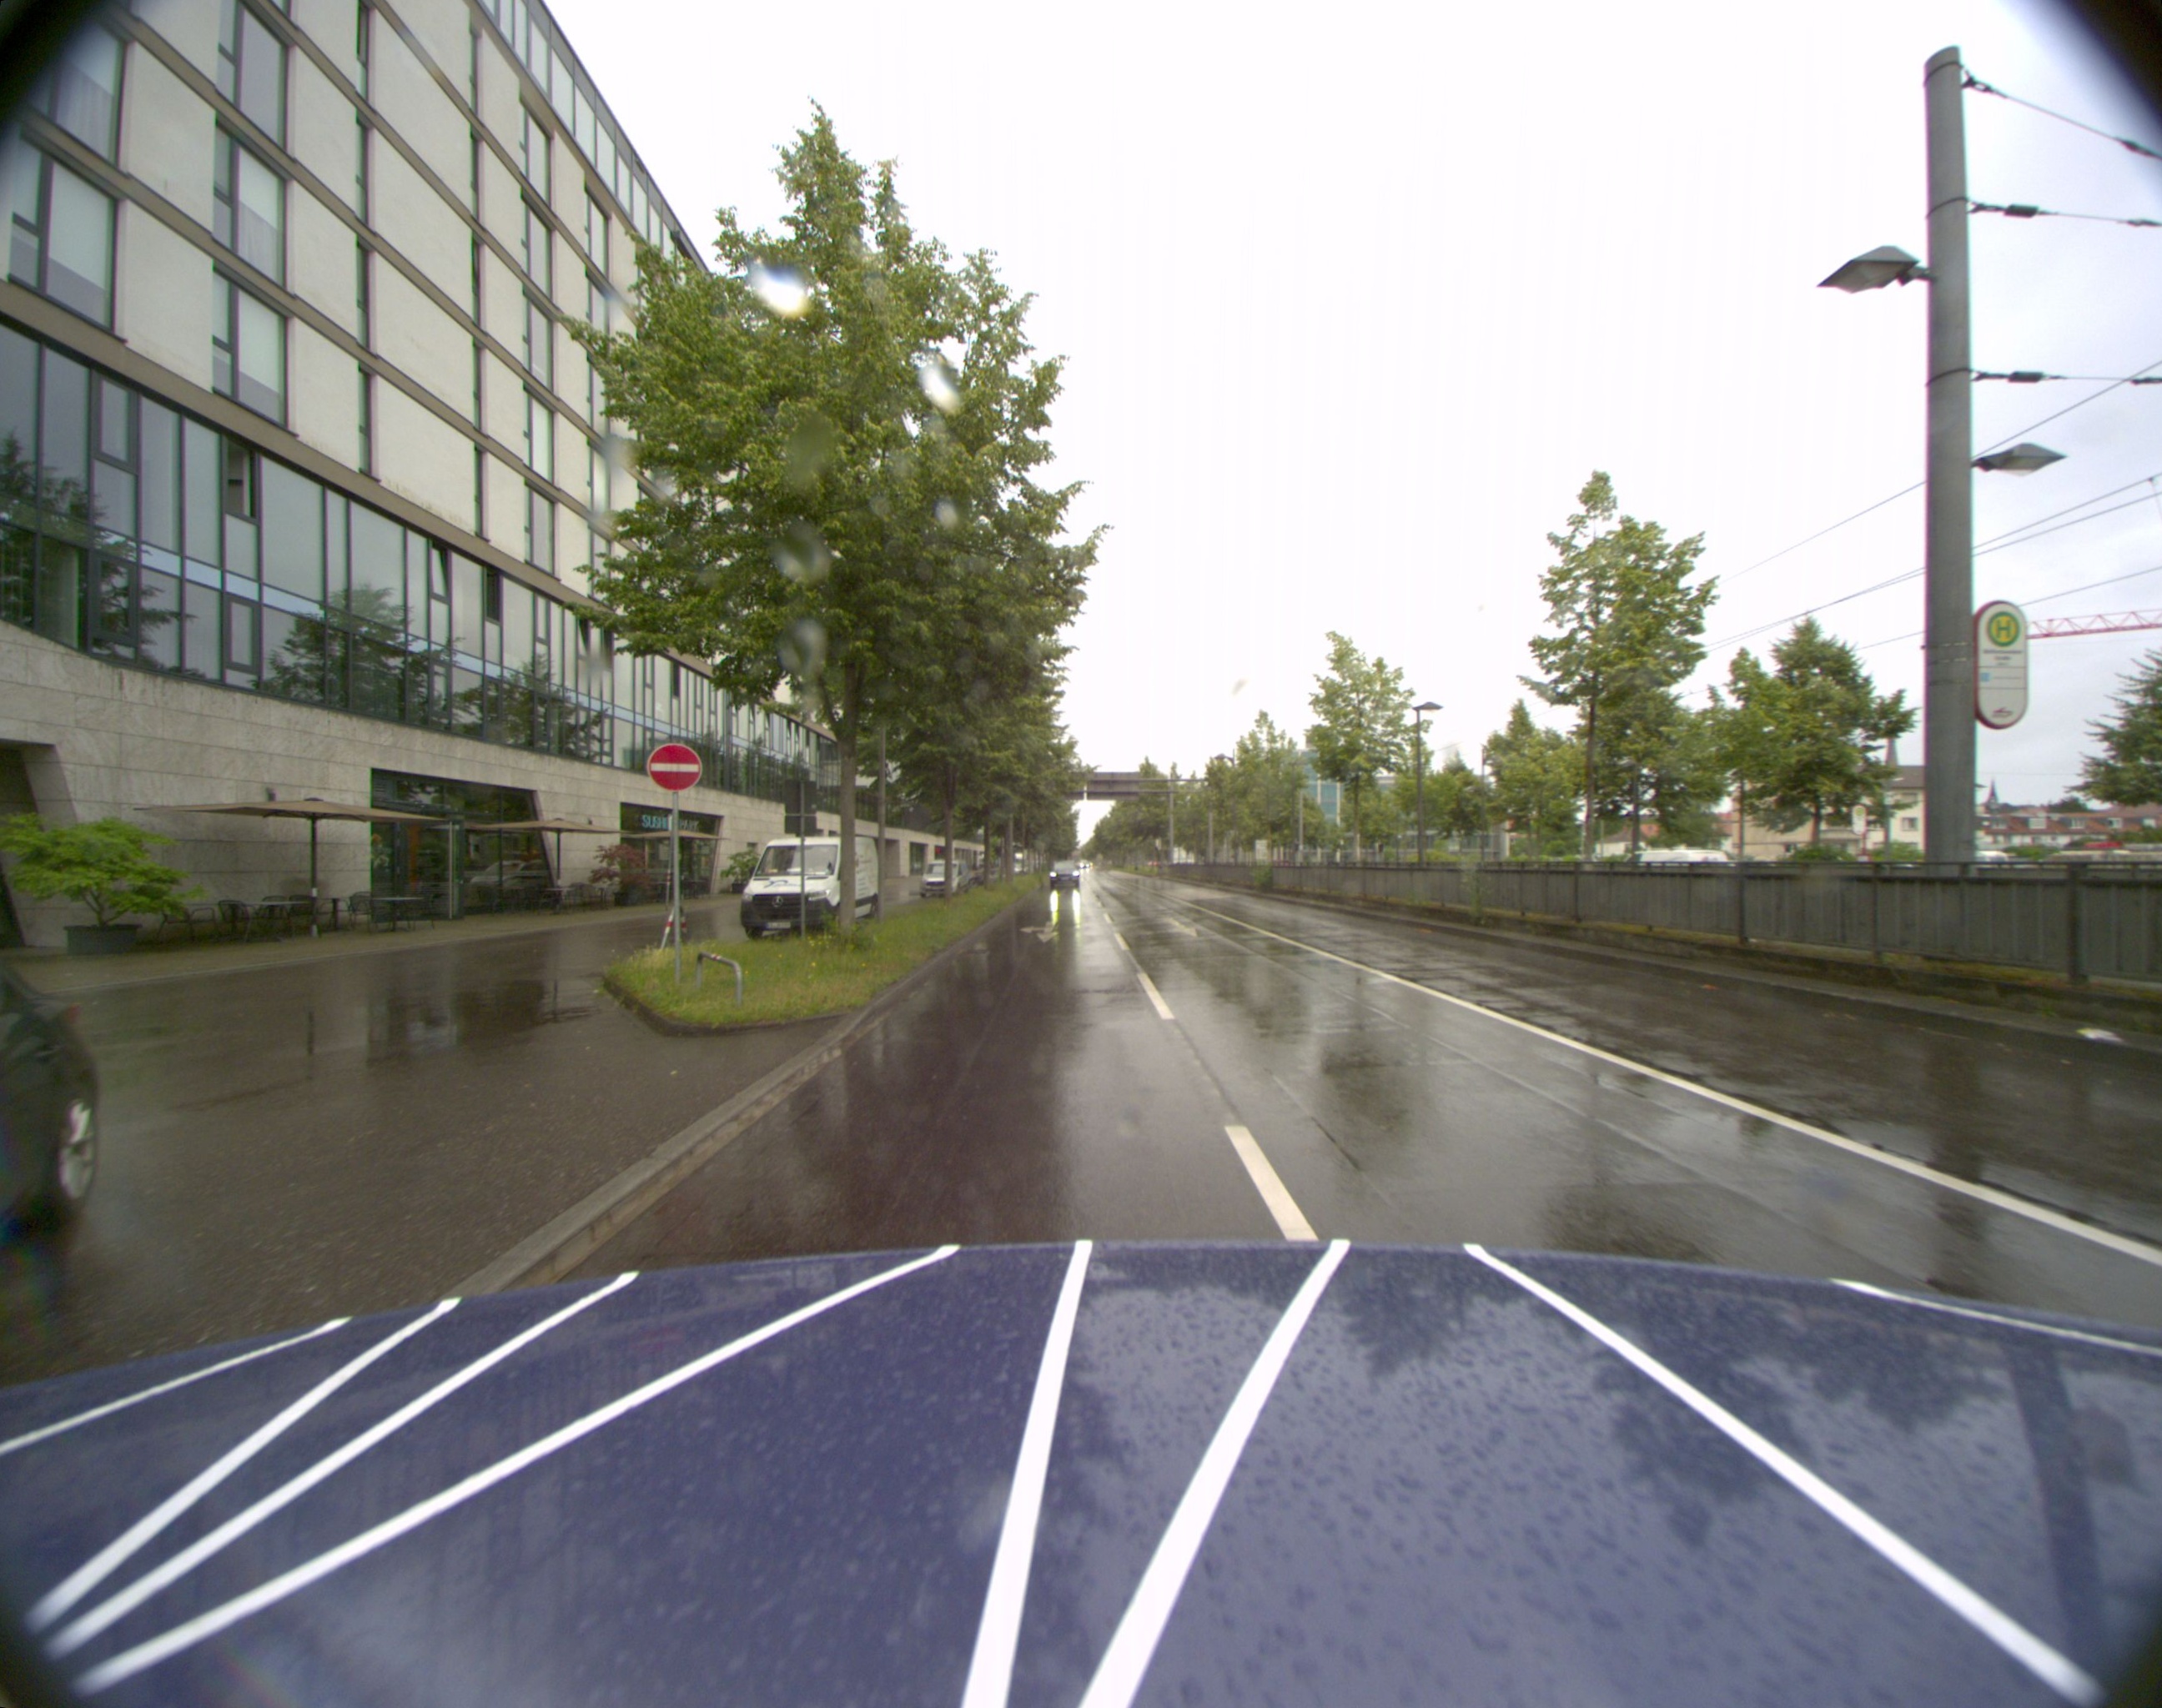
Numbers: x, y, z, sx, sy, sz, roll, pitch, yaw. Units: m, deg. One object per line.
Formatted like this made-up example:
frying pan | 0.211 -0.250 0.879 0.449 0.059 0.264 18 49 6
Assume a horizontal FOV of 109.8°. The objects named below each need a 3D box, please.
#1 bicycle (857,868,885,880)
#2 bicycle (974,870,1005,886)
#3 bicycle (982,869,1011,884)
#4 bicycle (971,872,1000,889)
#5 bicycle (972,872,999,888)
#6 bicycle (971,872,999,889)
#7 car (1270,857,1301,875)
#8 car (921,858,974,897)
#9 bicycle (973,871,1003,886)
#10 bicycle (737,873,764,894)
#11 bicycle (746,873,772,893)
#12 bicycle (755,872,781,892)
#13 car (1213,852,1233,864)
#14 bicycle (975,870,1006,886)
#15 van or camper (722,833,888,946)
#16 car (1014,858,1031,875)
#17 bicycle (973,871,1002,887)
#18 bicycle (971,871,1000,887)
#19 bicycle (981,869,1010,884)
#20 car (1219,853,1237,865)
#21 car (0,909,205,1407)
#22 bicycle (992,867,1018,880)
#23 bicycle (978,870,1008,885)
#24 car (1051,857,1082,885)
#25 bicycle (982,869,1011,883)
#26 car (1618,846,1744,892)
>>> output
bicycle | -16.511 1.571 59.709 2.029 0.940 0.395 0 0 -4
bicycle | -6.099 1.625 50.888 2.007 0.940 0.395 -3 1 -4
bicycle | -6.115 1.619 55.249 2.040 0.940 0.466 -3 1 -4
bicycle | -6.020 1.665 47.907 1.699 0.940 0.395 -3 1 -4
bicycle | -6.101 1.656 48.619 1.649 0.940 0.395 -3 1 -4
bicycle | -5.968 1.657 47.193 1.666 0.940 0.395 -3 1 -4
car | 21.698 1.223 80.878 1.999 1.736 3.999 -3 0 -2
car | -6.421 1.092 37.055 1.746 1.749 4.848 -1 0 -1
bicycle | -6.154 1.631 50.390 1.882 0.940 0.395 -3 1 -4
bicycle | -15.690 1.403 36.046 0.396 0.940 2.024 -3 1 -45
bicycle | -15.627 1.399 36.848 0.396 0.940 2.024 -3 1 -45
bicycle | -15.481 1.394 37.507 0.396 0.940 2.024 -3 1 -45
car | 21.837 0.640 117.018 1.999 1.736 3.999 -3 0 -2
bicycle | -6.130 1.628 51.325 2.040 0.940 0.395 -3 1 -4
van or camper | -6.355 0.730 18.341 2.031 2.279 5.459 -1 0 -1
car | -6.608 1.412 86.204 1.659 1.710 3.999 -3 0 -1
bicycle | -6.118 1.632 49.829 1.862 0.940 0.395 -3 1 -4
bicycle | -6.180 1.637 49.143 1.793 0.940 0.395 -3 1 -4
bicycle | -6.138 1.622 54.431 2.040 0.940 0.395 -3 1 -4
car | 24.417 0.827 126.340 1.999 1.736 3.999 -3 0 -2
car | -4.782 1.036 2.557 1.836 1.412 4.334 -1 0 -42
bicycle | -6.092 1.540 60.891 2.040 0.940 0.519 -3 1 -4
bicycle | -6.102 1.624 52.672 2.040 0.940 0.395 -3 1 -4
car | -0.895 1.085 49.663 1.816 1.603 4.000 -3 0 1
bicycle | -6.222 1.622 56.203 2.040 0.940 0.542 -3 1 -4
car | 25.110 0.596 32.010 1.999 1.736 3.999 -3 0 -2
